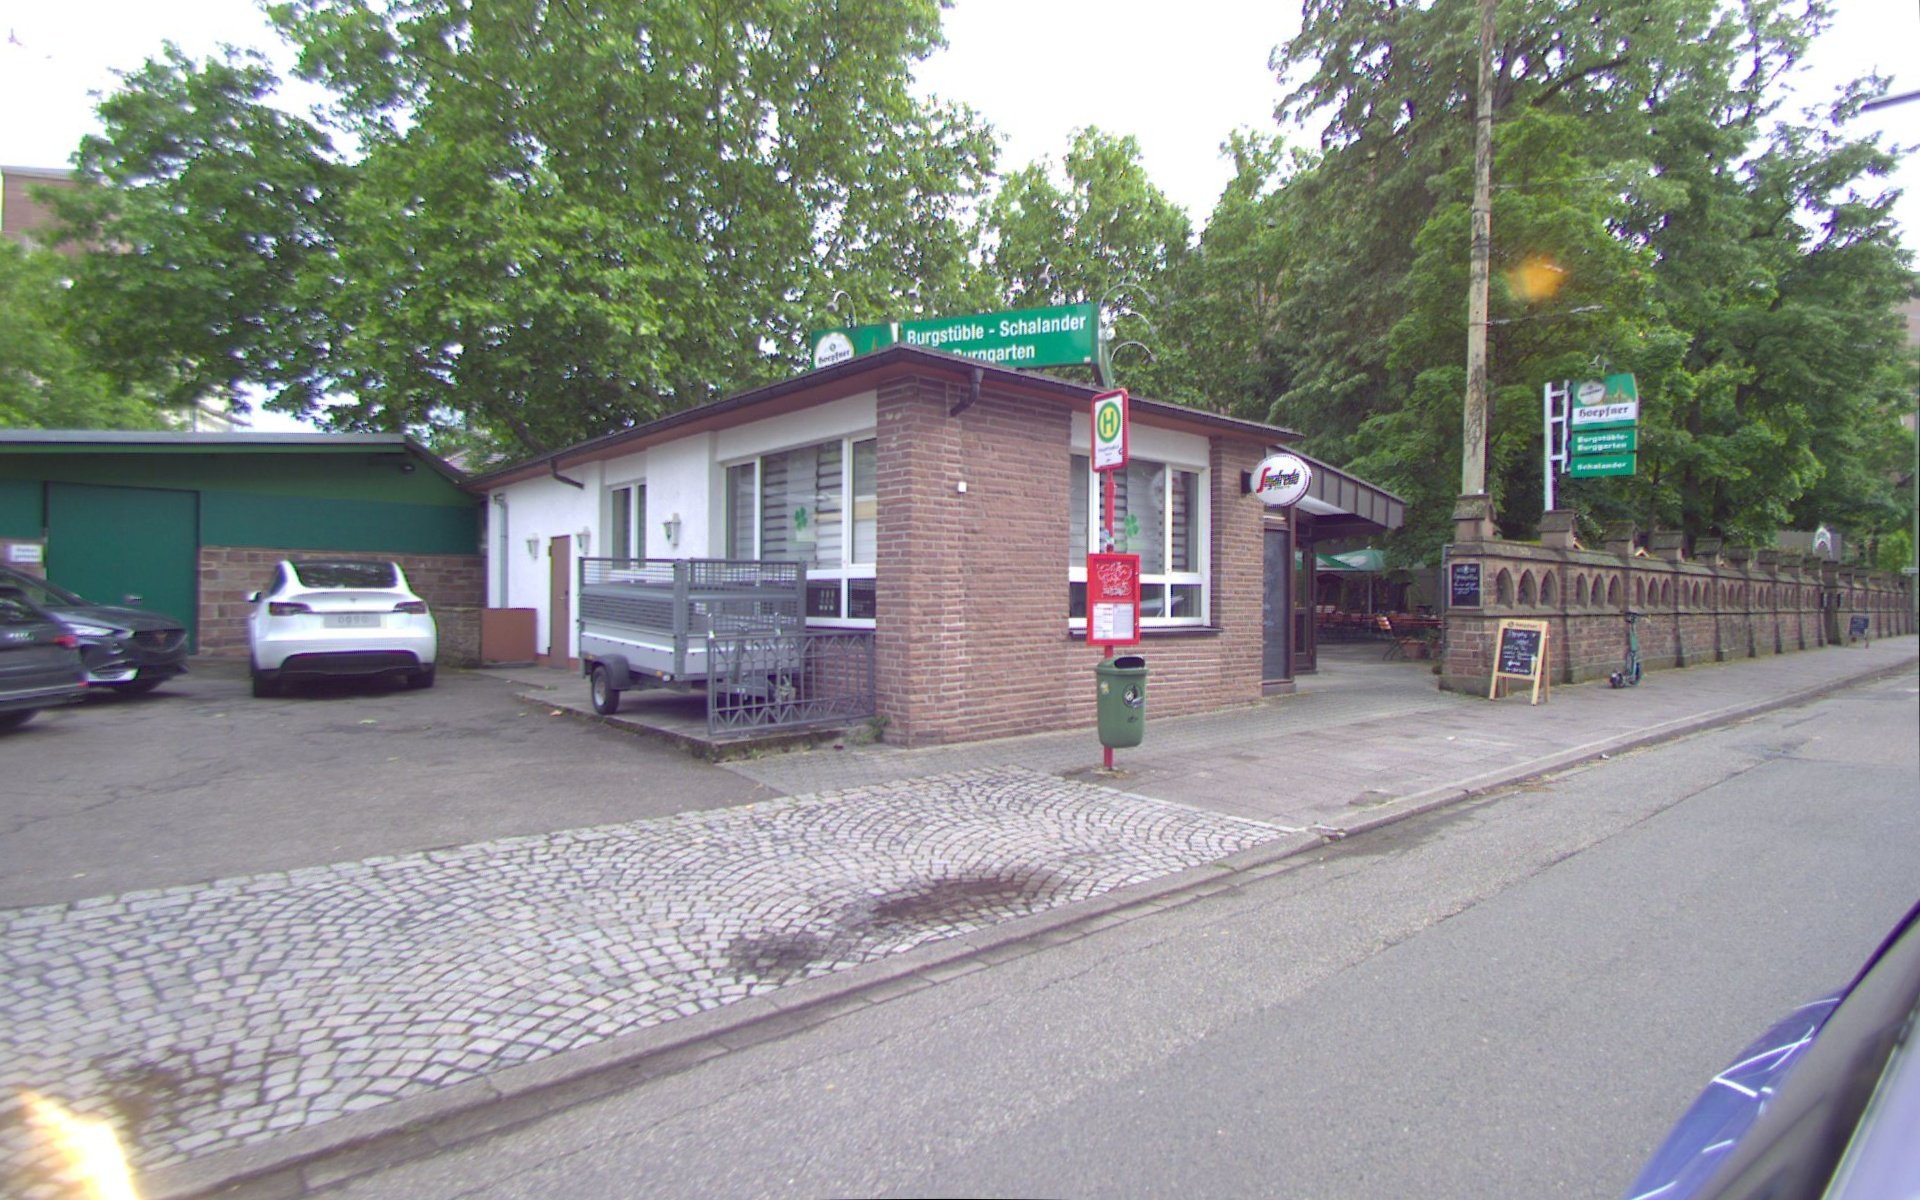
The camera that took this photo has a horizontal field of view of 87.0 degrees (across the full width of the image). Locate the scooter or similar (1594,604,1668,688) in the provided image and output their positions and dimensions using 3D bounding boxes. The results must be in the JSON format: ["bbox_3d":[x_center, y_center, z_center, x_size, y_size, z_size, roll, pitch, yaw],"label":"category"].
[{"bbox_3d":[10.870,0.714,16.383,1.385,1.254,0.578,0,3,-41],"label":"scooter or similar"}]

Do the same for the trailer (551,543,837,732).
[{"bbox_3d":[-2.753,0.294,10.085,1.592,1.558,3.168,-1,1,-39],"label":"trailer"}]

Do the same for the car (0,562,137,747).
[{"bbox_3d":[-9.967,0.392,8.630,4.457,1.445,1.878,1,3,2],"label":"car"}]

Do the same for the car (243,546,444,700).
[{"bbox_3d":[-8.216,0.236,13.310,1.953,1.667,4.438,0,0,-35],"label":"car"}]

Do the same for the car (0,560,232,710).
[{"bbox_3d":[-10.923,0.290,11.095,4.404,1.477,1.986,2,0,-2],"label":"car"}]
